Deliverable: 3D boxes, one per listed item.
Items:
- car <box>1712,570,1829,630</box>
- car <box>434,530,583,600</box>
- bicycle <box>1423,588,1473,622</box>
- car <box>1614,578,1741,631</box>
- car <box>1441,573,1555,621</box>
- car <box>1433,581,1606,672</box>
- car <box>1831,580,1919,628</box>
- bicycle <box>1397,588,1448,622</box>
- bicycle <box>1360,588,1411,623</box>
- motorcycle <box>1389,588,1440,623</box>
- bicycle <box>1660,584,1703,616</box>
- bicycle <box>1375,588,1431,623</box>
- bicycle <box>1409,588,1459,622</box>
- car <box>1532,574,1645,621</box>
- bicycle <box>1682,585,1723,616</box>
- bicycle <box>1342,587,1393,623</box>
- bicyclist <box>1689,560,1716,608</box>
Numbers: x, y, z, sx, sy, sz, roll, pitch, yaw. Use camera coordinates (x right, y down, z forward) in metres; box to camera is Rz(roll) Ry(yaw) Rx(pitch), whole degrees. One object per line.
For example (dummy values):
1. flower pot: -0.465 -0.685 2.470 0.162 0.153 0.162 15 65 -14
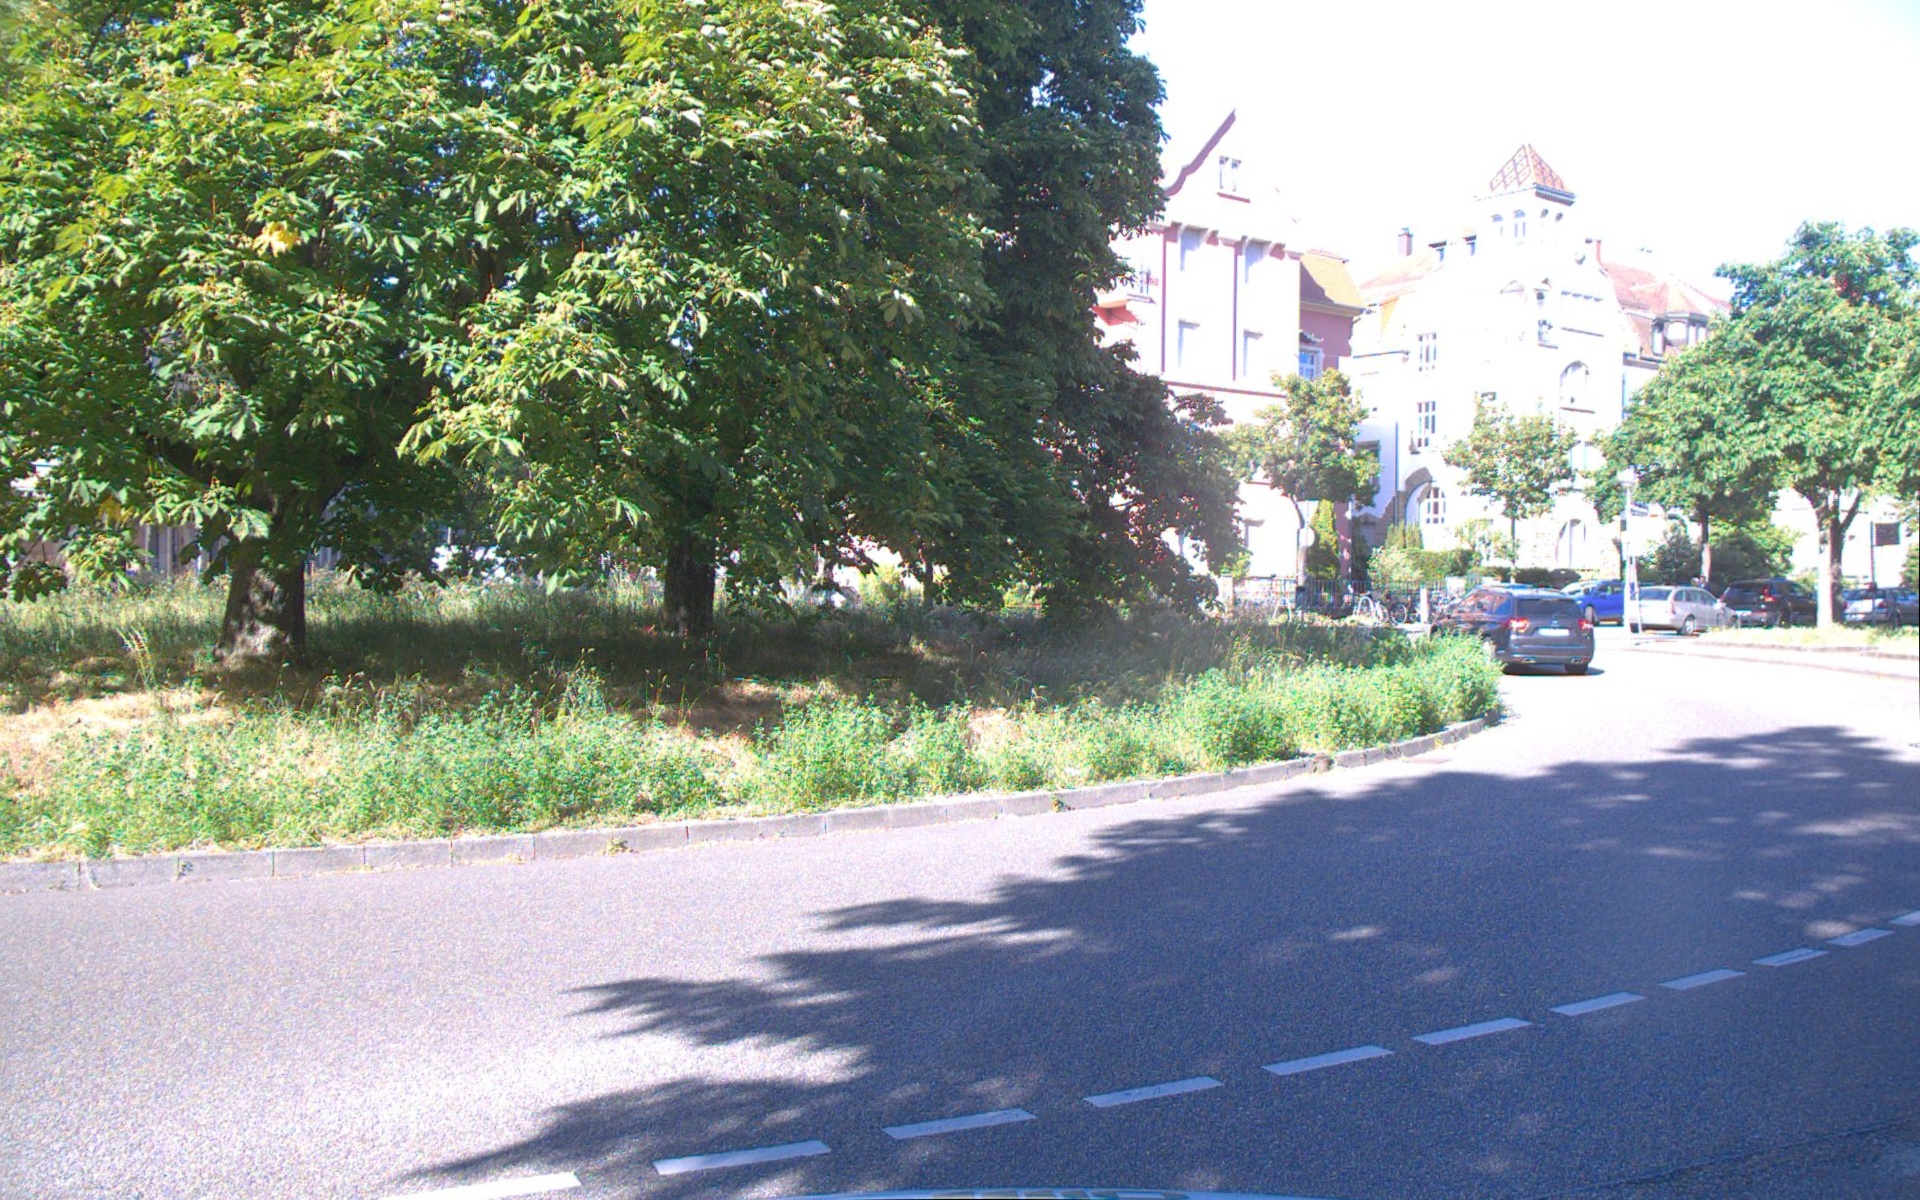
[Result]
1. car: 24.956 -0.011 50.883 4.302 1.758 1.782 0 1 -42
2. car: -18.277 -1.443 66.885 6.241 2.645 2.098 2 0 32
3. bicycle: 17.526 0.159 59.390 0.511 1.126 1.702 0 3 -40
4. car: 20.877 0.119 48.066 4.302 1.440 1.782 0 2 -42
5. car: 18.225 -0.099 55.910 4.303 1.509 1.781 0 -1 -43
6. car: 10.154 0.435 30.329 1.785 1.559 3.999 0 1 -1
7. car: 31.281 0.124 55.594 4.287 1.499 1.788 0 1 -35
8. bicycle: 16.309 0.170 58.389 0.497 1.126 1.699 -1 3 -43
9. bicycle: 14.662 0.171 57.002 0.540 1.134 1.705 0 3 -36
10. motorcycle: 15.925 0.181 57.970 0.497 1.126 1.699 -1 3 -43
11. bicycle: 25.532 0.000 58.521 1.843 1.127 0.588 0 0 -37
12. bicycle: 15.389 0.170 57.503 1.795 1.126 0.499 3 3 38
13. bicycle: 16.807 0.168 58.723 0.496 1.126 1.702 0 3 -40
14. car: 22.398 -0.092 58.891 4.354 1.589 1.785 -1 -1 -38
15. bicycle: 27.350 0.034 60.908 1.699 1.127 0.637 0 0 -38
16. bicycle: 13.894 0.155 56.445 0.540 1.134 1.705 0 3 -36
17. bicyclist: 27.339 -0.590 60.908 0.715 1.744 0.637 1 -1 -37
